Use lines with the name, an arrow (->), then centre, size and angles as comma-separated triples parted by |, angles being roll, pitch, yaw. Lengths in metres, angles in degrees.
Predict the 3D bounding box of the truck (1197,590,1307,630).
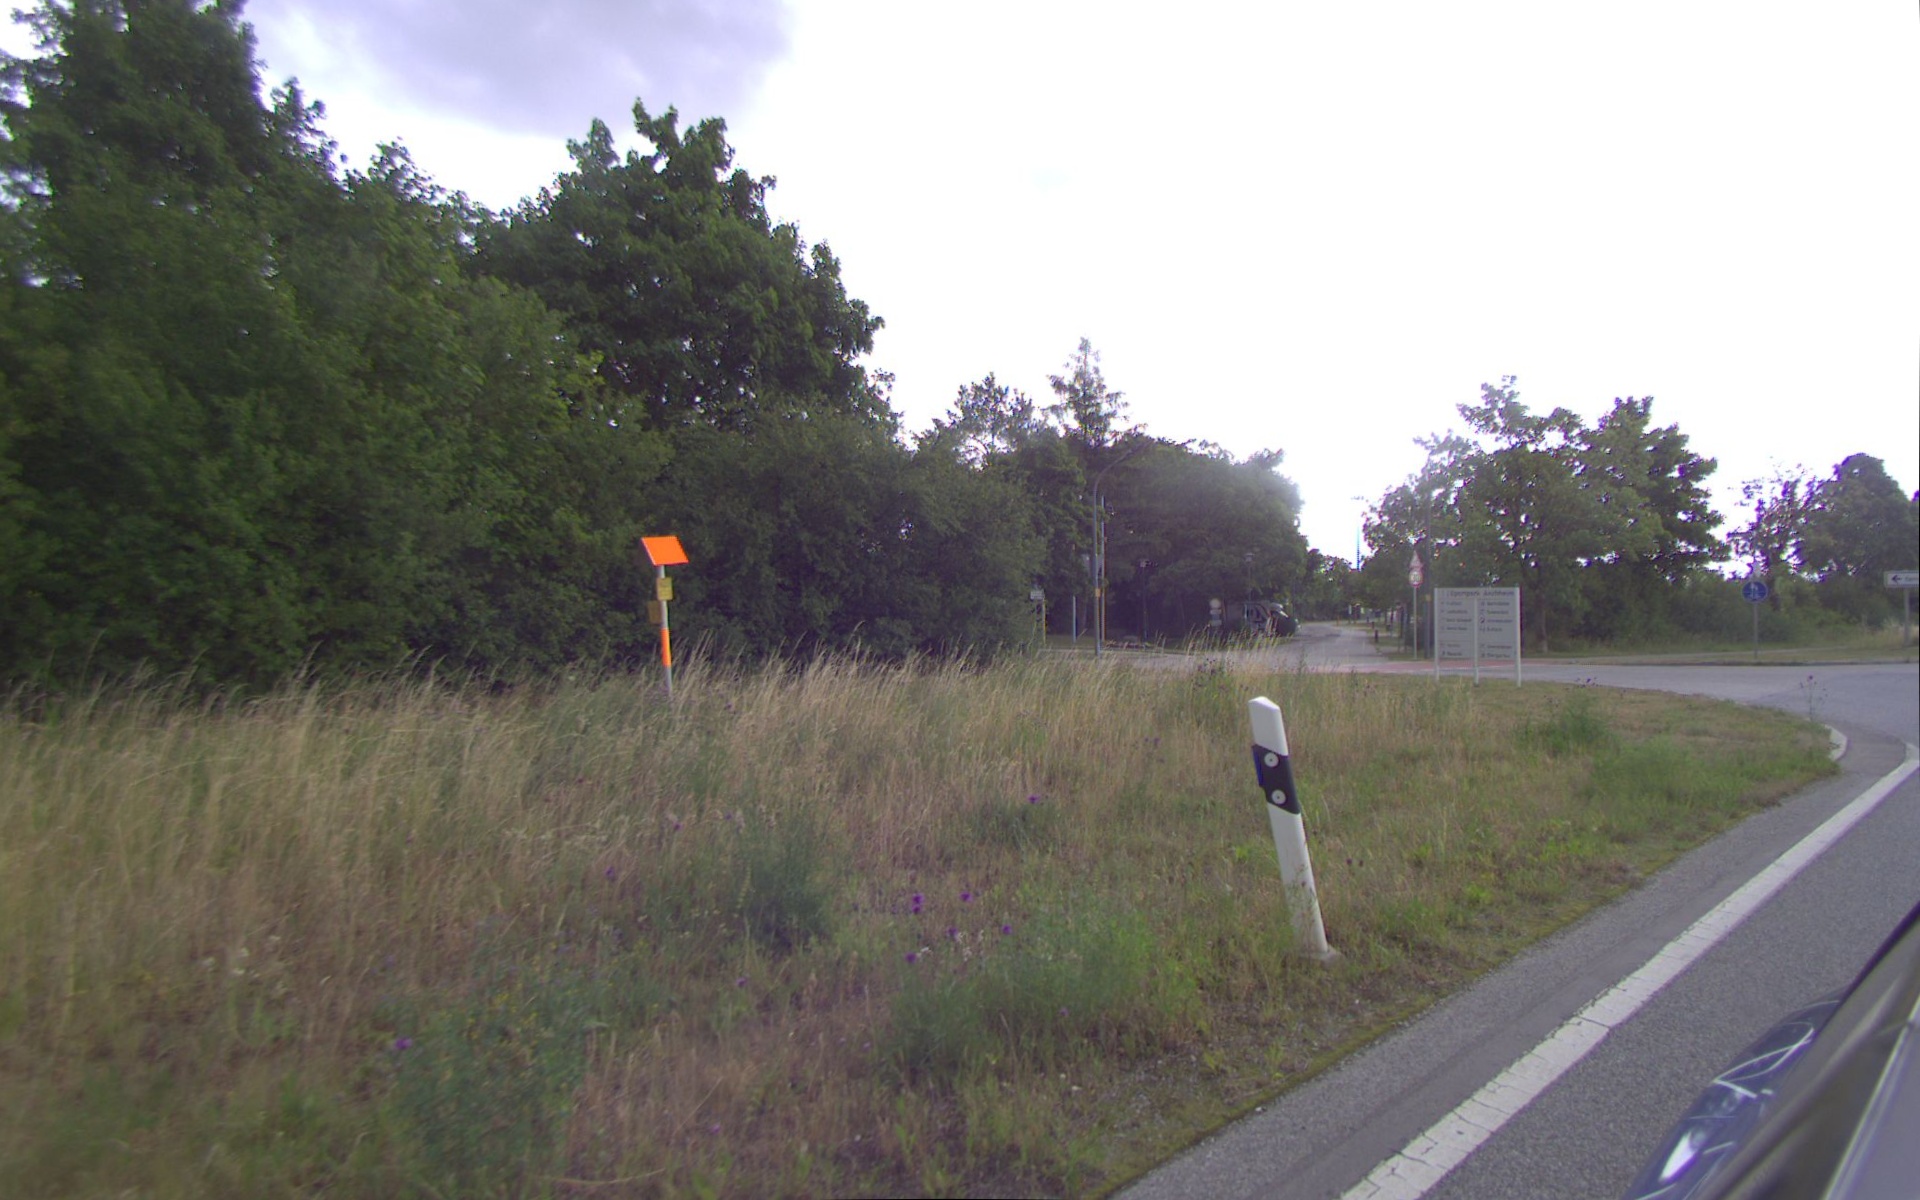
truck -> 23.794, 0.765, 82.552 | 8.281, 3.149, 3.048 | 0, 0, 24
